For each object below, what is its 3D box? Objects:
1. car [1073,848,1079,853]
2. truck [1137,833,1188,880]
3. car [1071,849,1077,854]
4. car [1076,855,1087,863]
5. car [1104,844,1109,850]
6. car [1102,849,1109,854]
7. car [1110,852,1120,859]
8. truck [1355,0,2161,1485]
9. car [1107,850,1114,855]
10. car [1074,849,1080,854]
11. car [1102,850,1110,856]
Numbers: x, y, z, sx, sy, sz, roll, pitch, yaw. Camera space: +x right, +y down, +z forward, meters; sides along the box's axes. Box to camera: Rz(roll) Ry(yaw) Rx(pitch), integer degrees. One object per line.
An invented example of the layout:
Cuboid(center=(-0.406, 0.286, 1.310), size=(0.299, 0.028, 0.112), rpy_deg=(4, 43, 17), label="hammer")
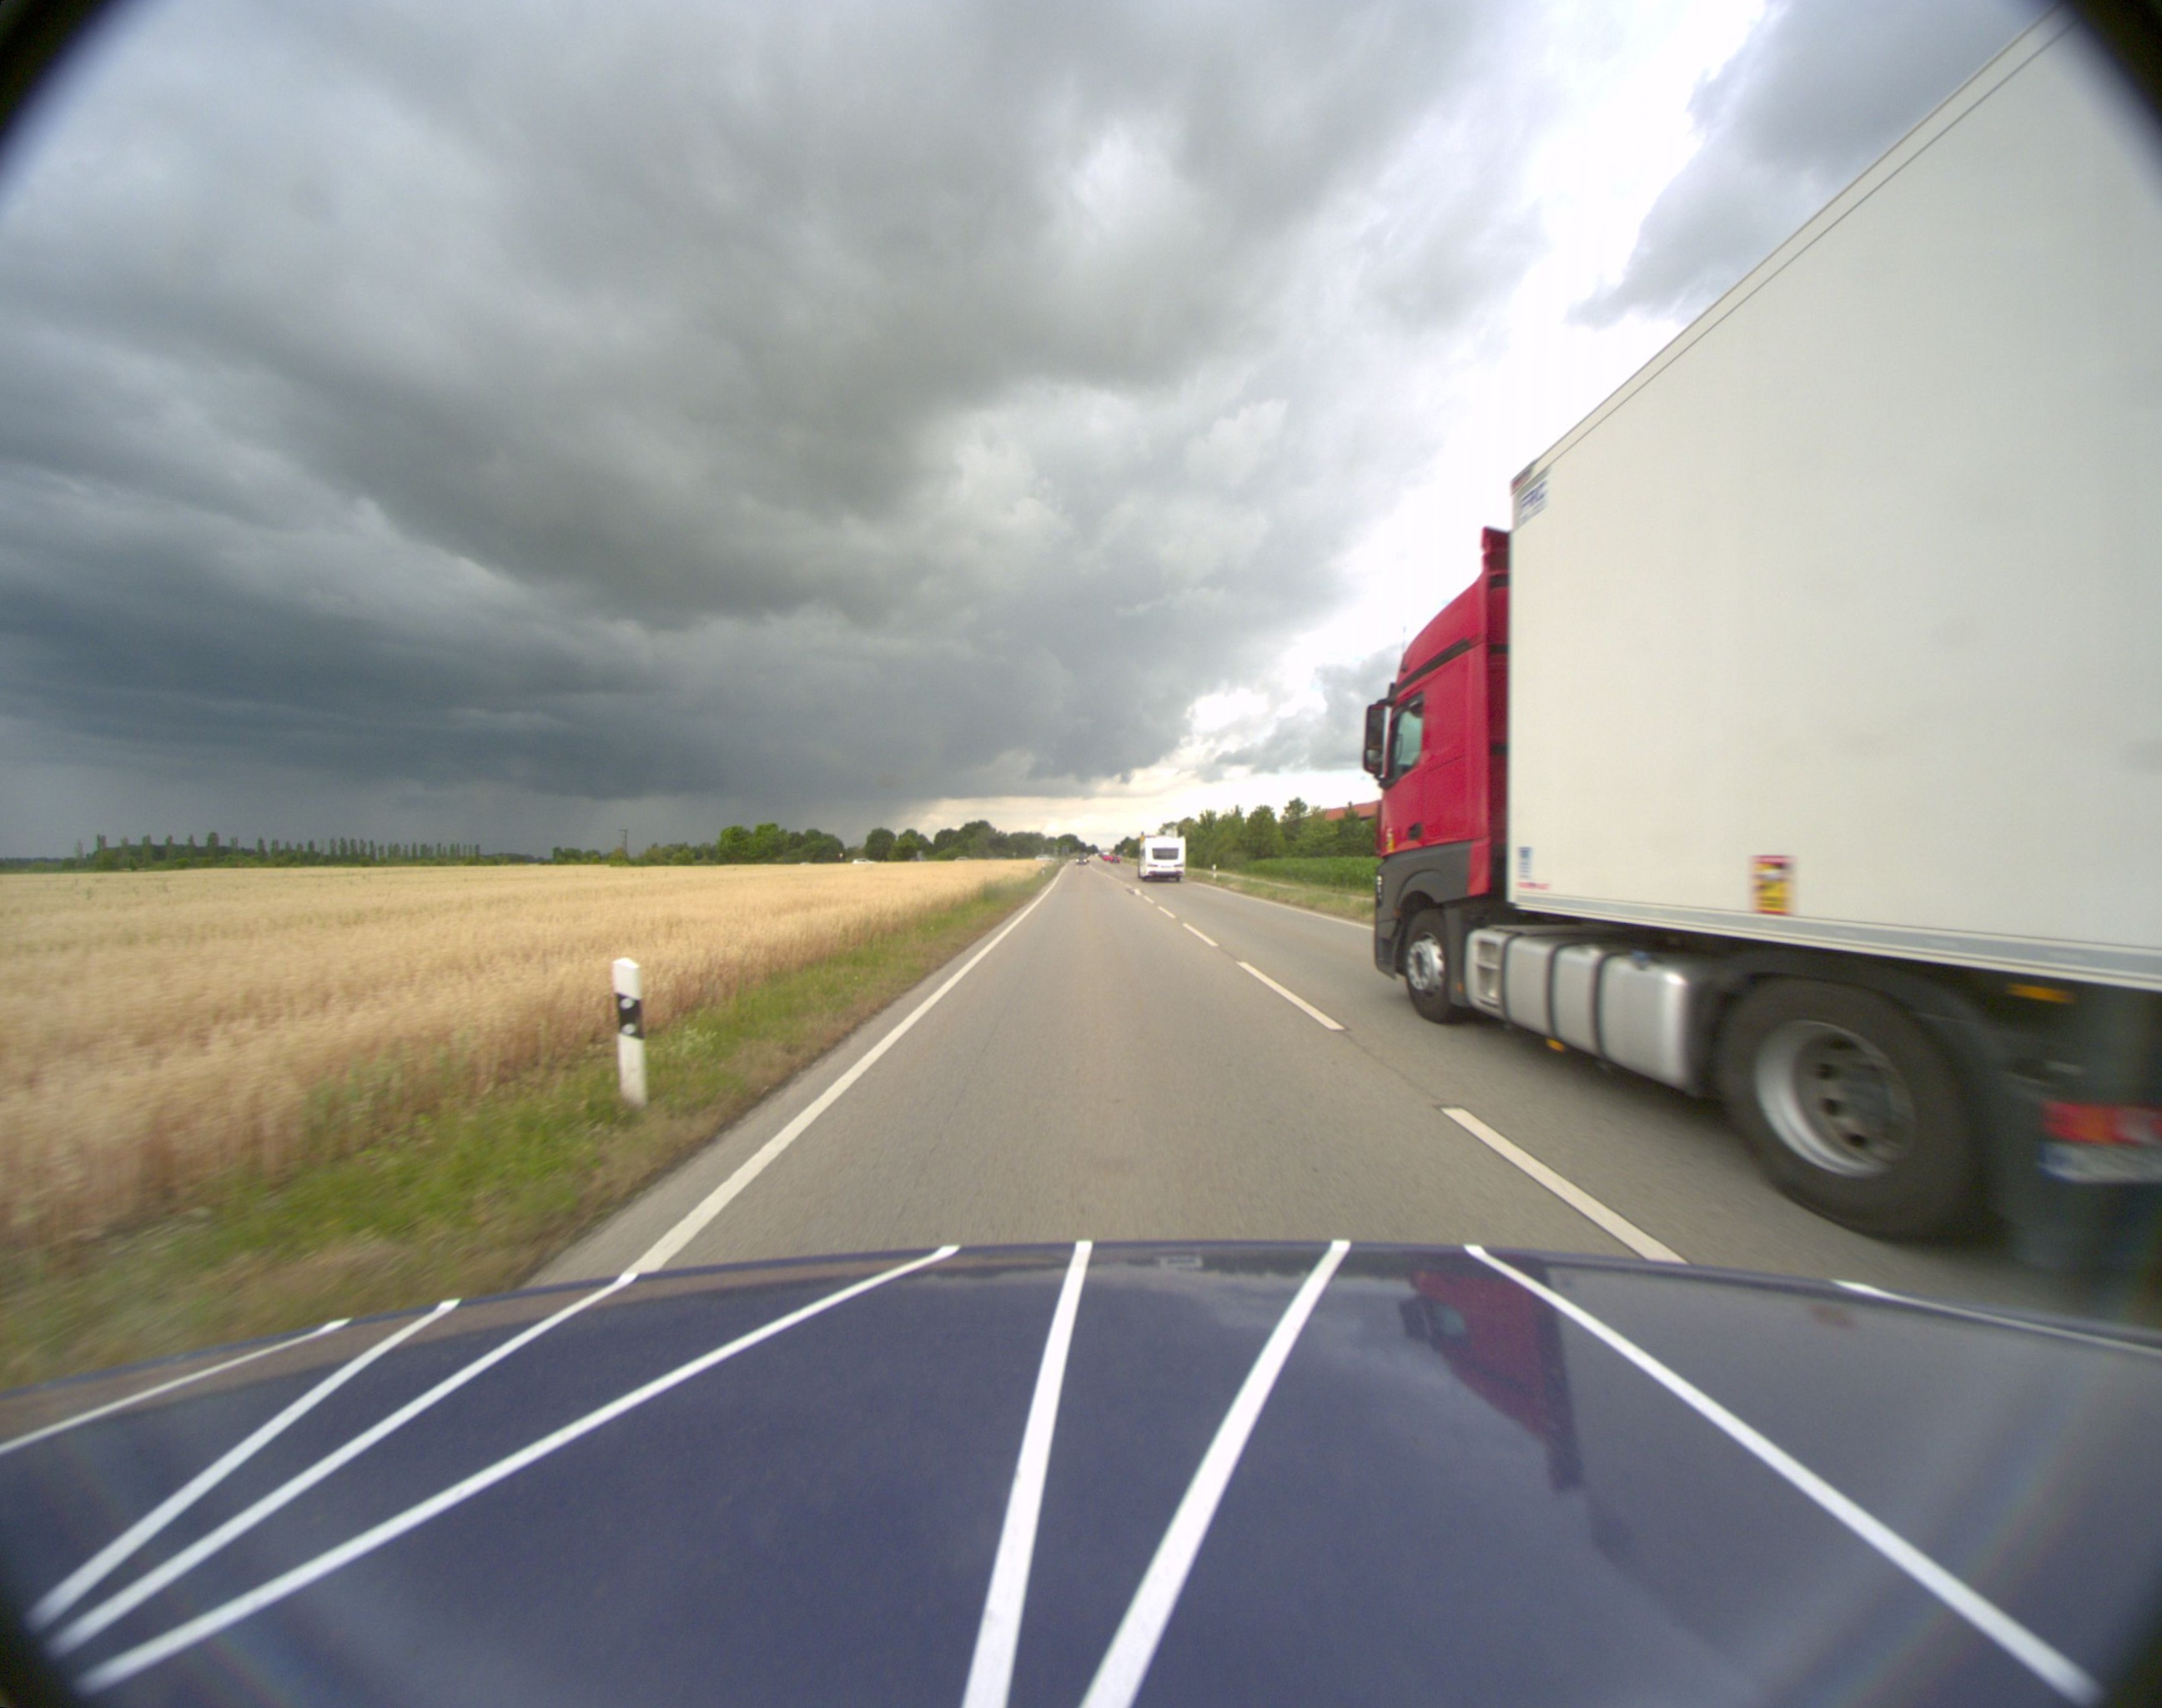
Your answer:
Cuboid(center=(-1.465, -1.006, 246.768), size=(1.869, 1.540, 3.826), rpy_deg=(-1, 1, 1), label="car")
Cuboid(center=(5.024, 0.098, 48.742), size=(2.419, 2.643, 11.431), rpy_deg=(-1, 1, 2), label="truck")
Cuboid(center=(-1.871, -0.737, 205.565), size=(1.714, 1.352, 3.826), rpy_deg=(-1, 1, 1), label="car")
Cuboid(center=(0.072, 0.854, 126.825), size=(1.869, 1.352, 3.826), rpy_deg=(-1, 1, 0), label="car")
Cuboid(center=(8.259, -2.271, 247.909), size=(1.759, 1.690, 3.826), rpy_deg=(-1, 1, 1), label="car")
Cuboid(center=(6.987, -0.602, 217.325), size=(1.788, 1.352, 3.826), rpy_deg=(-1, 1, 1), label="car")
Cuboid(center=(6.601, 0.323, 149.157), size=(1.869, 1.352, 3.826), rpy_deg=(-1, 1, 1), label="car")
Cuboid(center=(4.143, -0.457, 4.873), size=(2.658, 4.097, 6.023), rpy_deg=(-1, 1, 1), label="truck")
Cuboid(center=(7.933, -0.425, 201.808), size=(1.725, 1.352, 3.826), rpy_deg=(-1, 1, 1), label="car")
Cuboid(center=(-1.060, -0.662, 223.917), size=(1.714, 1.352, 3.826), rpy_deg=(-1, 1, 1), label="car")
Cuboid(center=(6.035, -0.153, 182.387), size=(1.869, 1.352, 3.826), rpy_deg=(-1, 1, 1), label="car")
